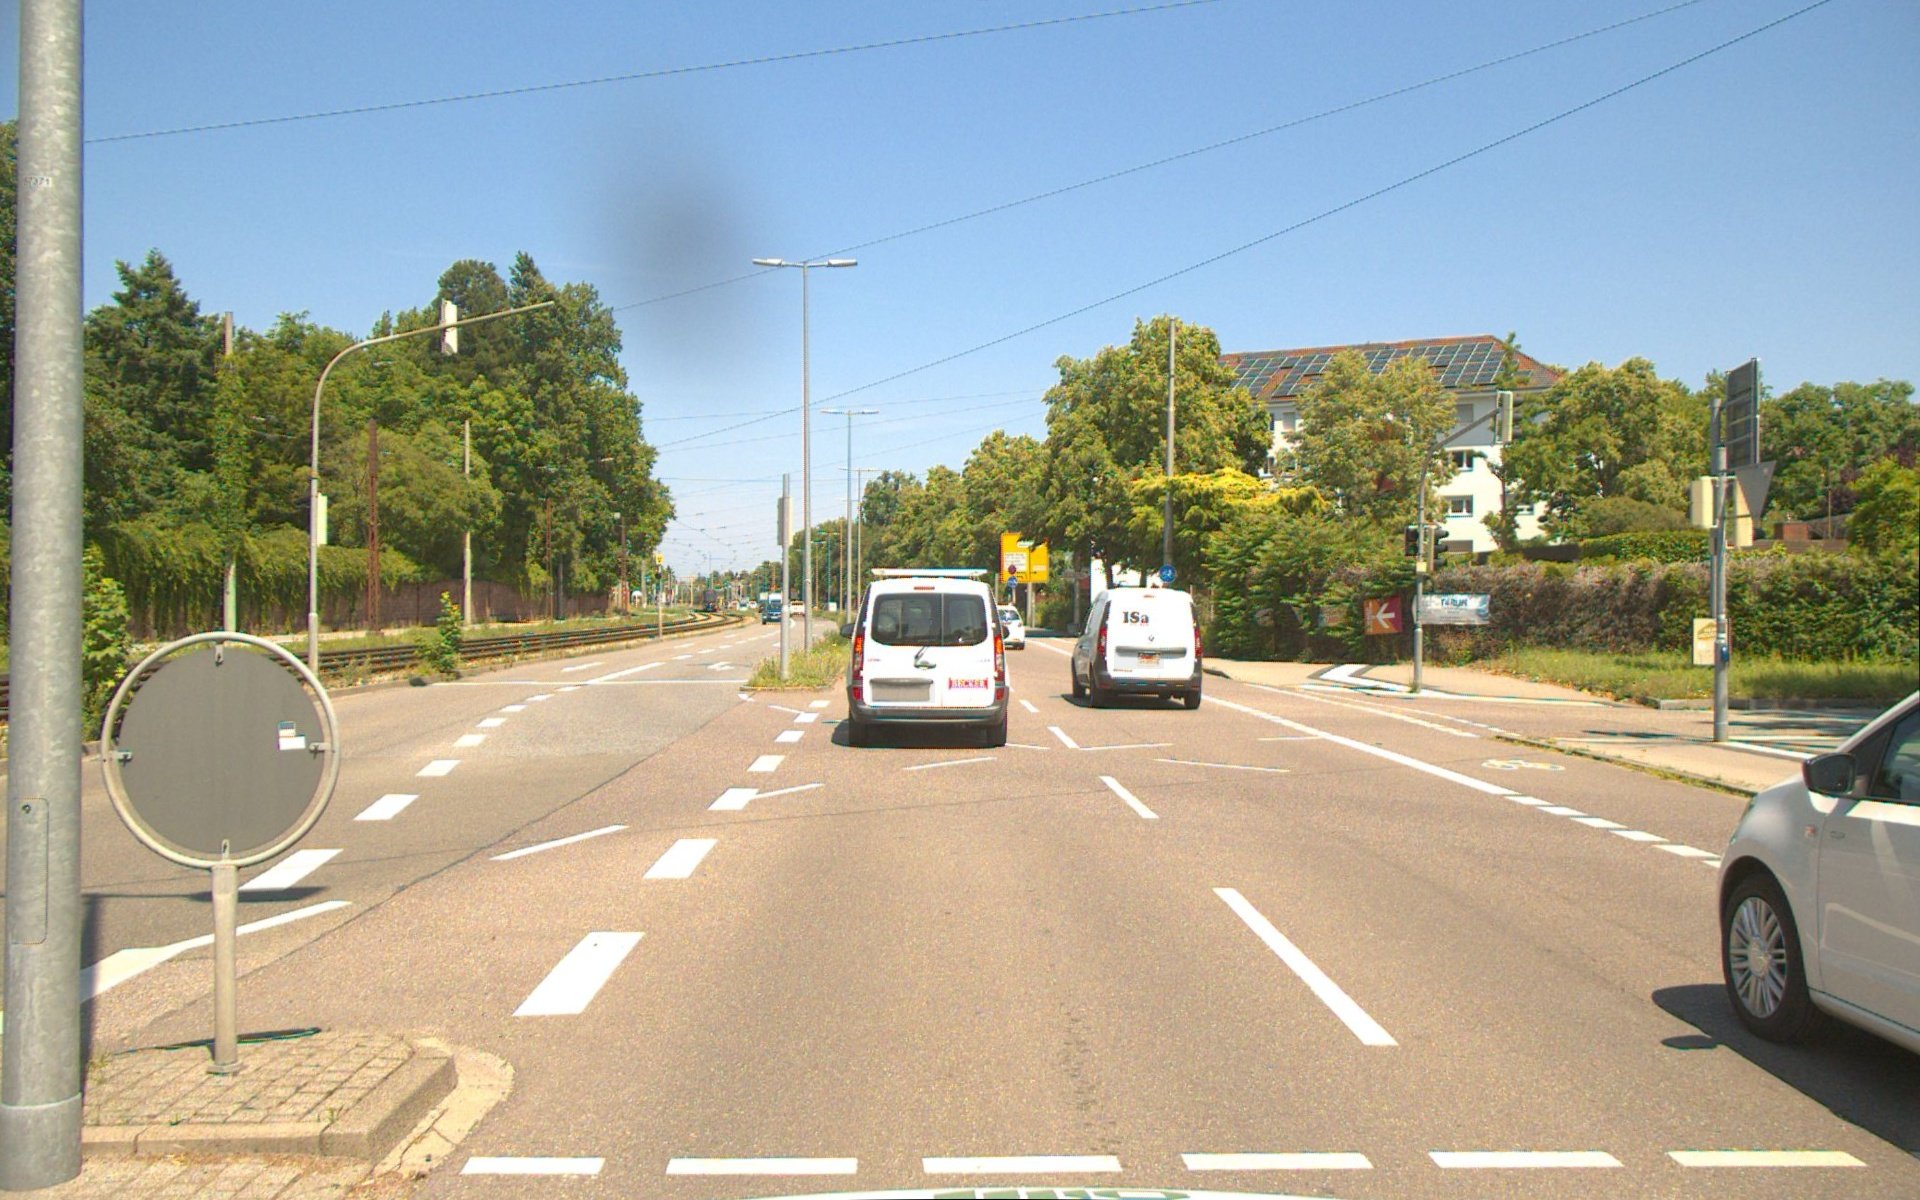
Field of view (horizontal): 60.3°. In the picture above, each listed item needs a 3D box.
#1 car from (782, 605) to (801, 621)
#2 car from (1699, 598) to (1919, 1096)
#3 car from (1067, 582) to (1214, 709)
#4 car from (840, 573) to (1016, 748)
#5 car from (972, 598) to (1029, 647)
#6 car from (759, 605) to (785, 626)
[{"bbox_3d":[-19.656,1.483,193.442,1.953,1.847,3.998,0,0,-2],"label":"car"},{"bbox_3d":[3.673,0.768,4.655,1.577,1.472,3.435,2,0,-1],"label":"car"},{"bbox_3d":[2.799,0.678,26.446,1.693,1.819,4.062,2,0,-2],"label":"car"},{"bbox_3d":[-0.382,0.621,19.304,1.784,1.770,4.395,1,0,-1],"label":"car"},{"bbox_3d":[1.409,0.784,59.145,1.798,1.596,3.999,2,0,-1],"label":"car"},{"bbox_3d":[-13.852,1.129,121.920,1.663,1.539,4.063,0,0,-3],"label":"car"}]
